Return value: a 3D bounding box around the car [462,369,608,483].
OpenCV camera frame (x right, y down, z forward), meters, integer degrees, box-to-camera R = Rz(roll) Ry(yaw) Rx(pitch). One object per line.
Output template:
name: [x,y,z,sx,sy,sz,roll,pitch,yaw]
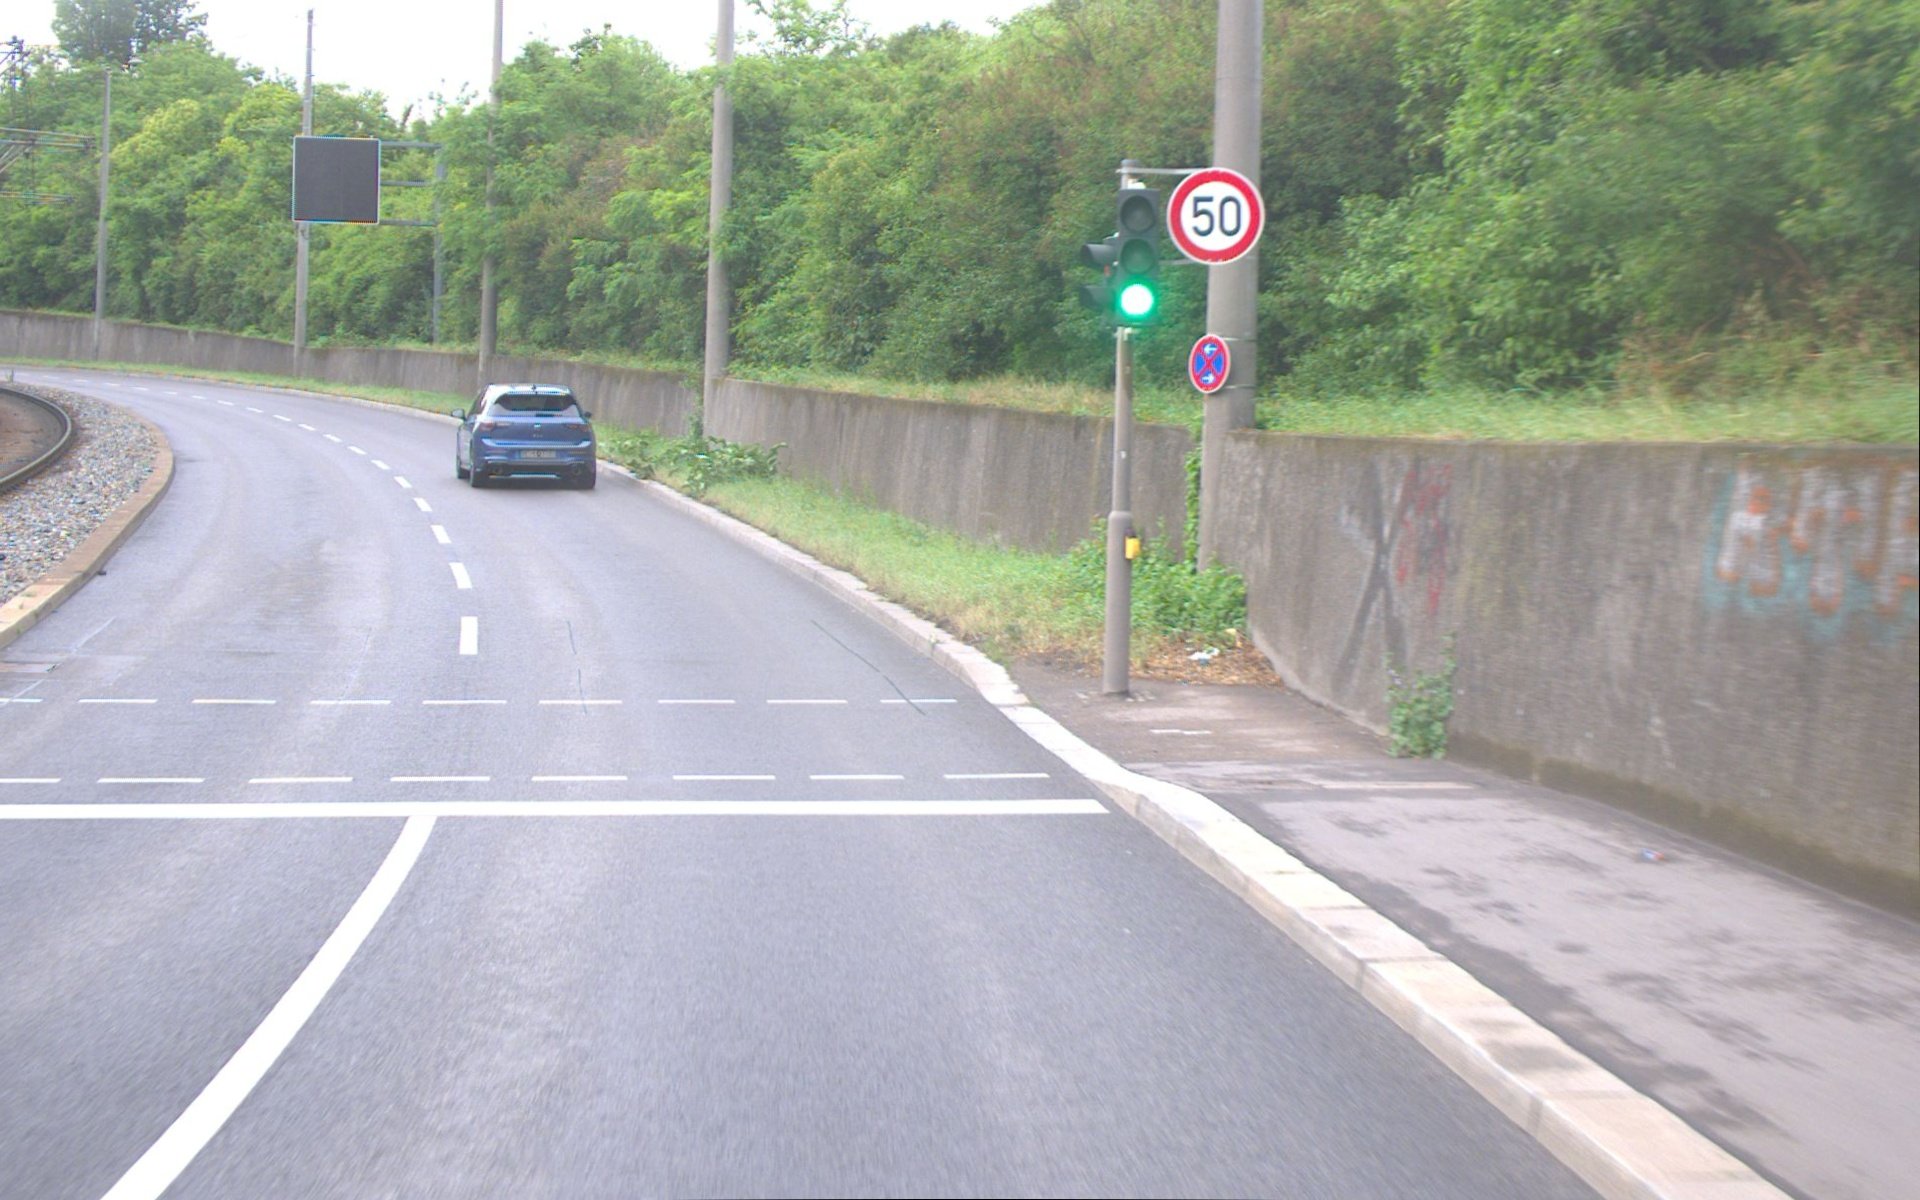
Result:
car: [-6.192,-2.550,49.771,1.763,1.496,4.002,1,4,-11]
